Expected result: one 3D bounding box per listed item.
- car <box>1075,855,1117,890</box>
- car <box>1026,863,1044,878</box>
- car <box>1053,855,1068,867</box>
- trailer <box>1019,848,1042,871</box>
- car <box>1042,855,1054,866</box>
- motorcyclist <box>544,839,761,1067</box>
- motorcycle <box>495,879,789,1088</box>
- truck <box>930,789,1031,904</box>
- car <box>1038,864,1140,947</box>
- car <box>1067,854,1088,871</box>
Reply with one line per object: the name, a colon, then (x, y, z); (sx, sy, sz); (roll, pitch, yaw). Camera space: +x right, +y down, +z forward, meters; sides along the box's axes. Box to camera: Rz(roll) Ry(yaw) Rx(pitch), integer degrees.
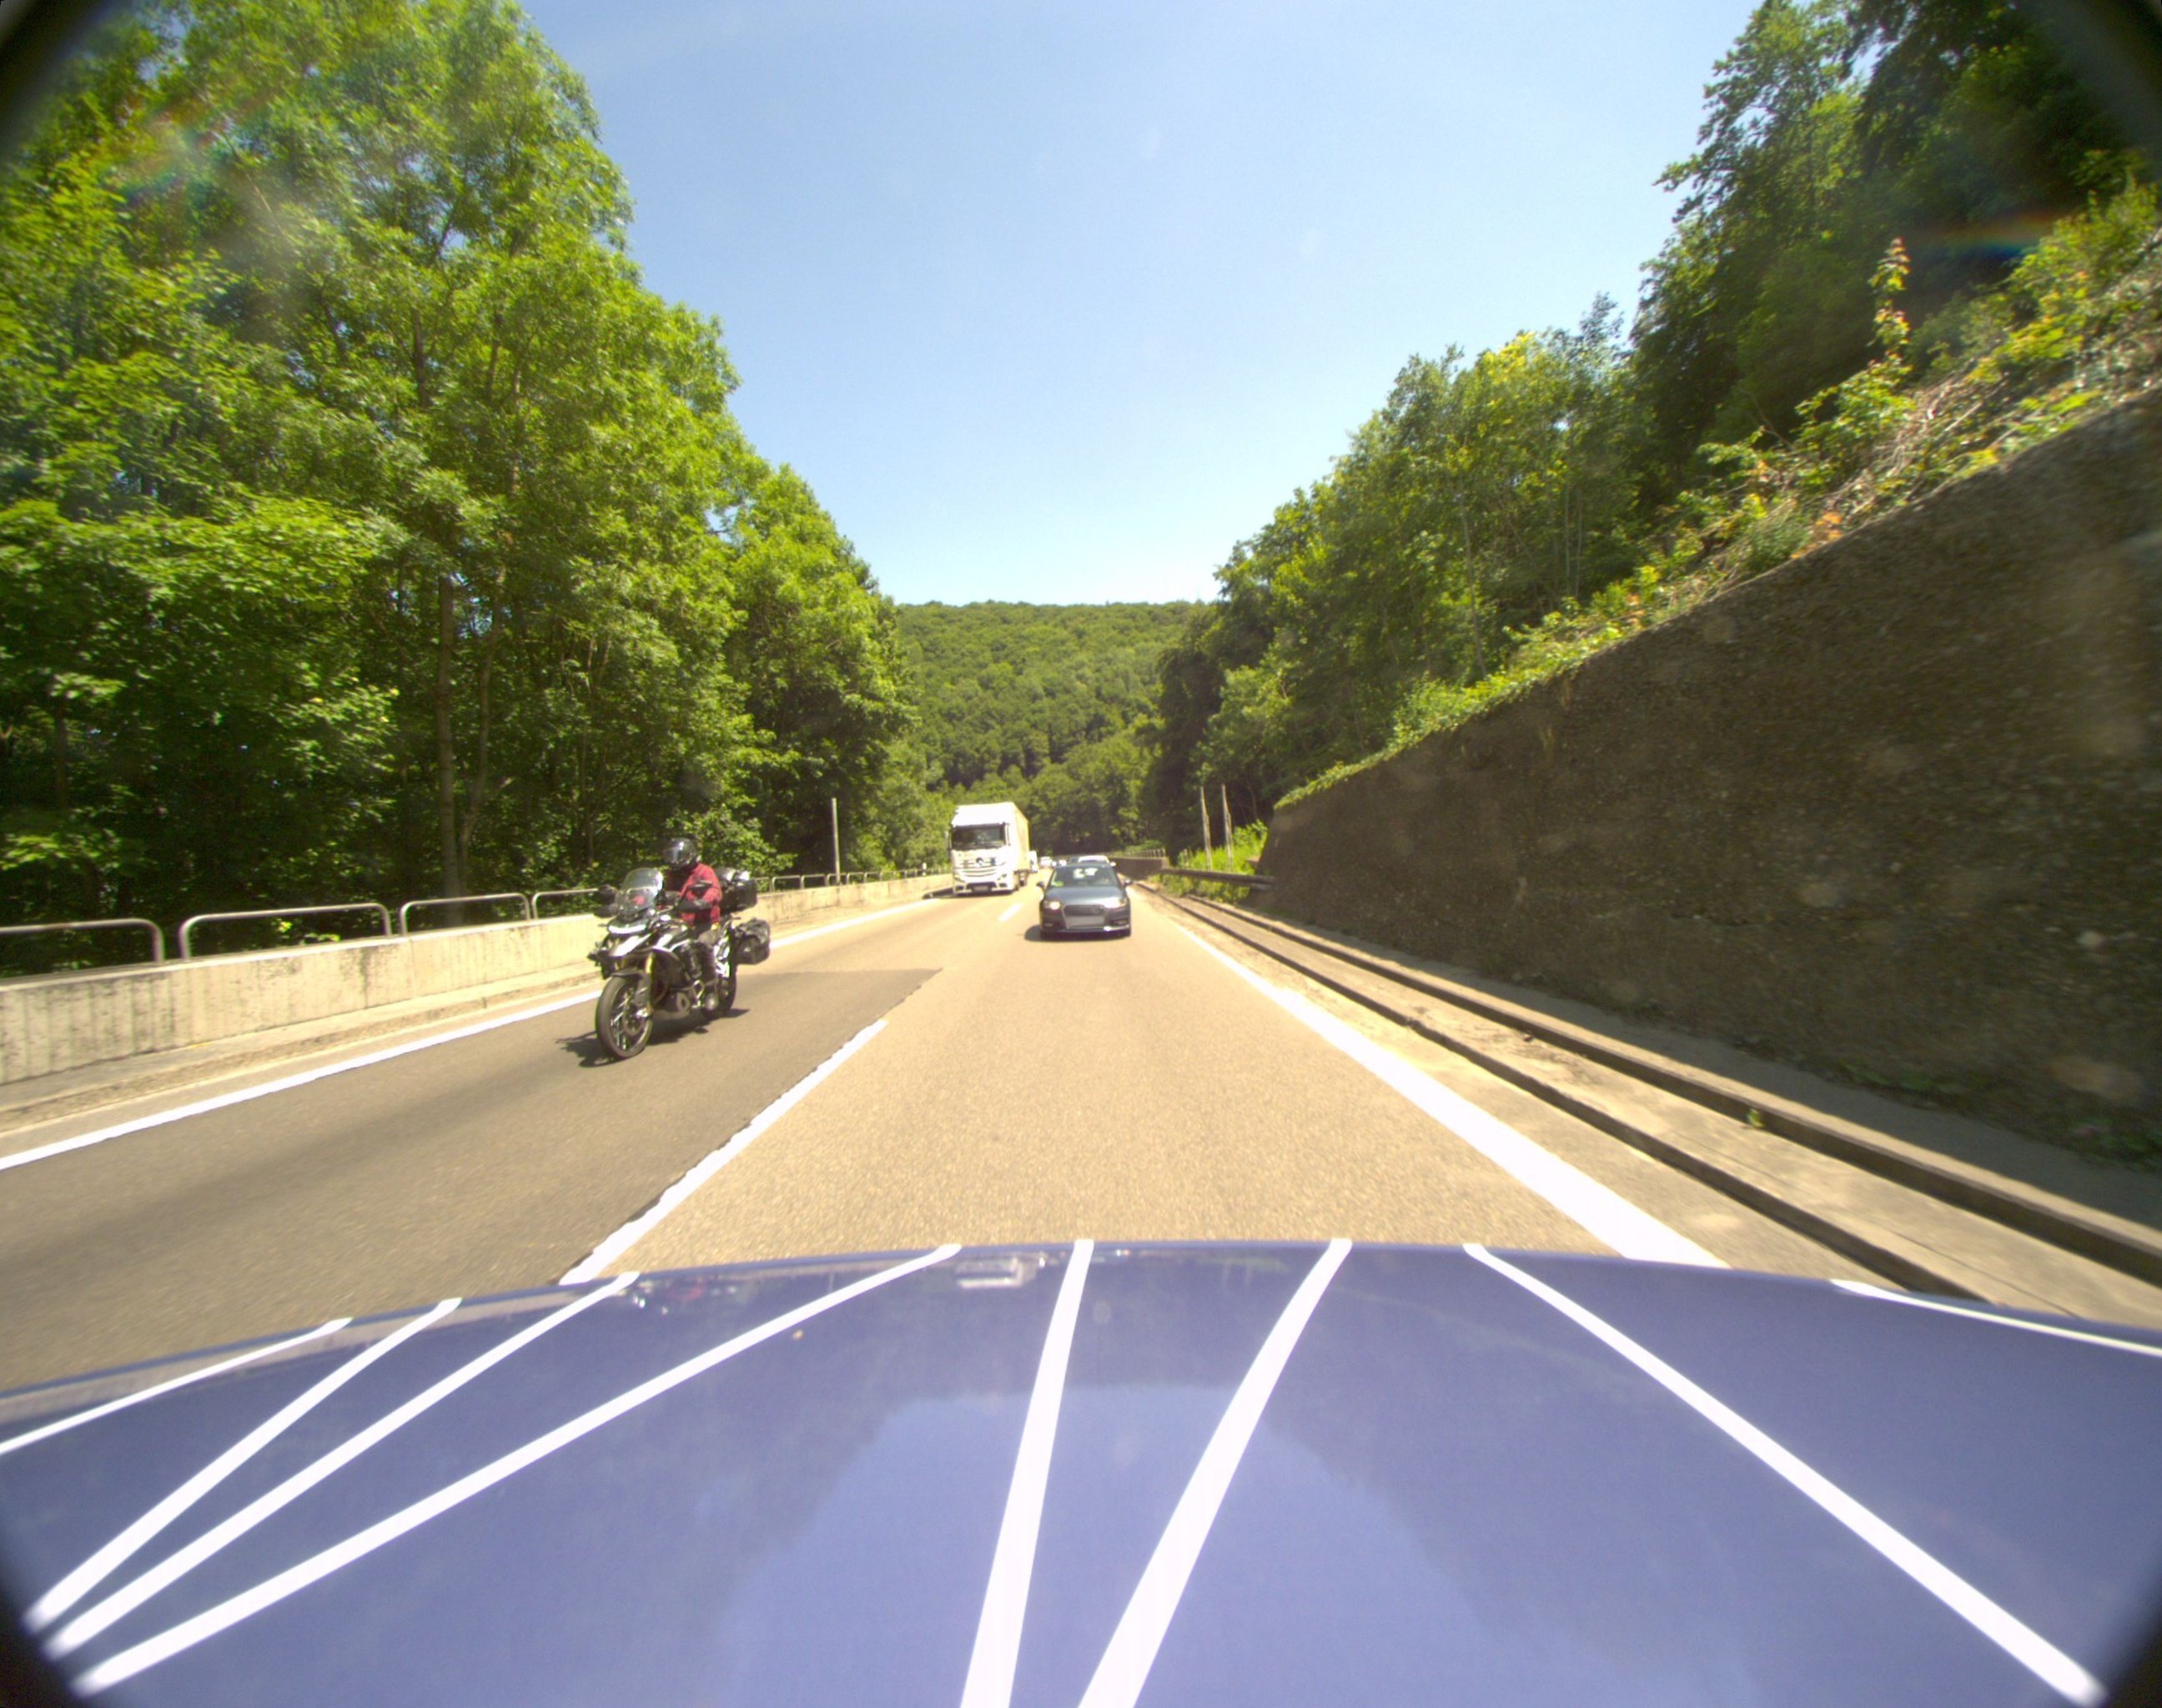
car: (0.675, 0.787, 34.637); (1.755, 1.460, 3.982); (-2, 0, 1)
car: (-5.227, 1.842, 85.862); (1.999, 1.652, 3.998); (-1, 0, -5)
car: (-2.737, 0.927, 101.657); (1.619, 1.487, 3.654); (-3, 0, -5)
trailer: (-6.217, 0.677, 94.578); (2.528, 2.694, 9.503); (-1, 0, -2)
car: (-5.011, 0.993, 114.903); (1.619, 1.487, 3.654); (-3, 0, -7)
motorcyclist: (-3.681, 0.788, 6.700); (1.063, 1.790, 1.338); (-2, 0, 2)
motorcycle: (-3.709, 0.987, 6.866); (0.975, 1.411, 2.681); (-2, 0, 2)
truck: (-4.274, -0.306, 36.614); (2.969, 4.108, 16.703); (-3, 0, -2)
car: (0.083, 0.935, 15.407); (1.755, 1.350, 4.121); (-2, 0, -2)
car: (-0.363, 0.799, 73.584); (1.756, 1.480, 3.980); (-2, 0, -3)
